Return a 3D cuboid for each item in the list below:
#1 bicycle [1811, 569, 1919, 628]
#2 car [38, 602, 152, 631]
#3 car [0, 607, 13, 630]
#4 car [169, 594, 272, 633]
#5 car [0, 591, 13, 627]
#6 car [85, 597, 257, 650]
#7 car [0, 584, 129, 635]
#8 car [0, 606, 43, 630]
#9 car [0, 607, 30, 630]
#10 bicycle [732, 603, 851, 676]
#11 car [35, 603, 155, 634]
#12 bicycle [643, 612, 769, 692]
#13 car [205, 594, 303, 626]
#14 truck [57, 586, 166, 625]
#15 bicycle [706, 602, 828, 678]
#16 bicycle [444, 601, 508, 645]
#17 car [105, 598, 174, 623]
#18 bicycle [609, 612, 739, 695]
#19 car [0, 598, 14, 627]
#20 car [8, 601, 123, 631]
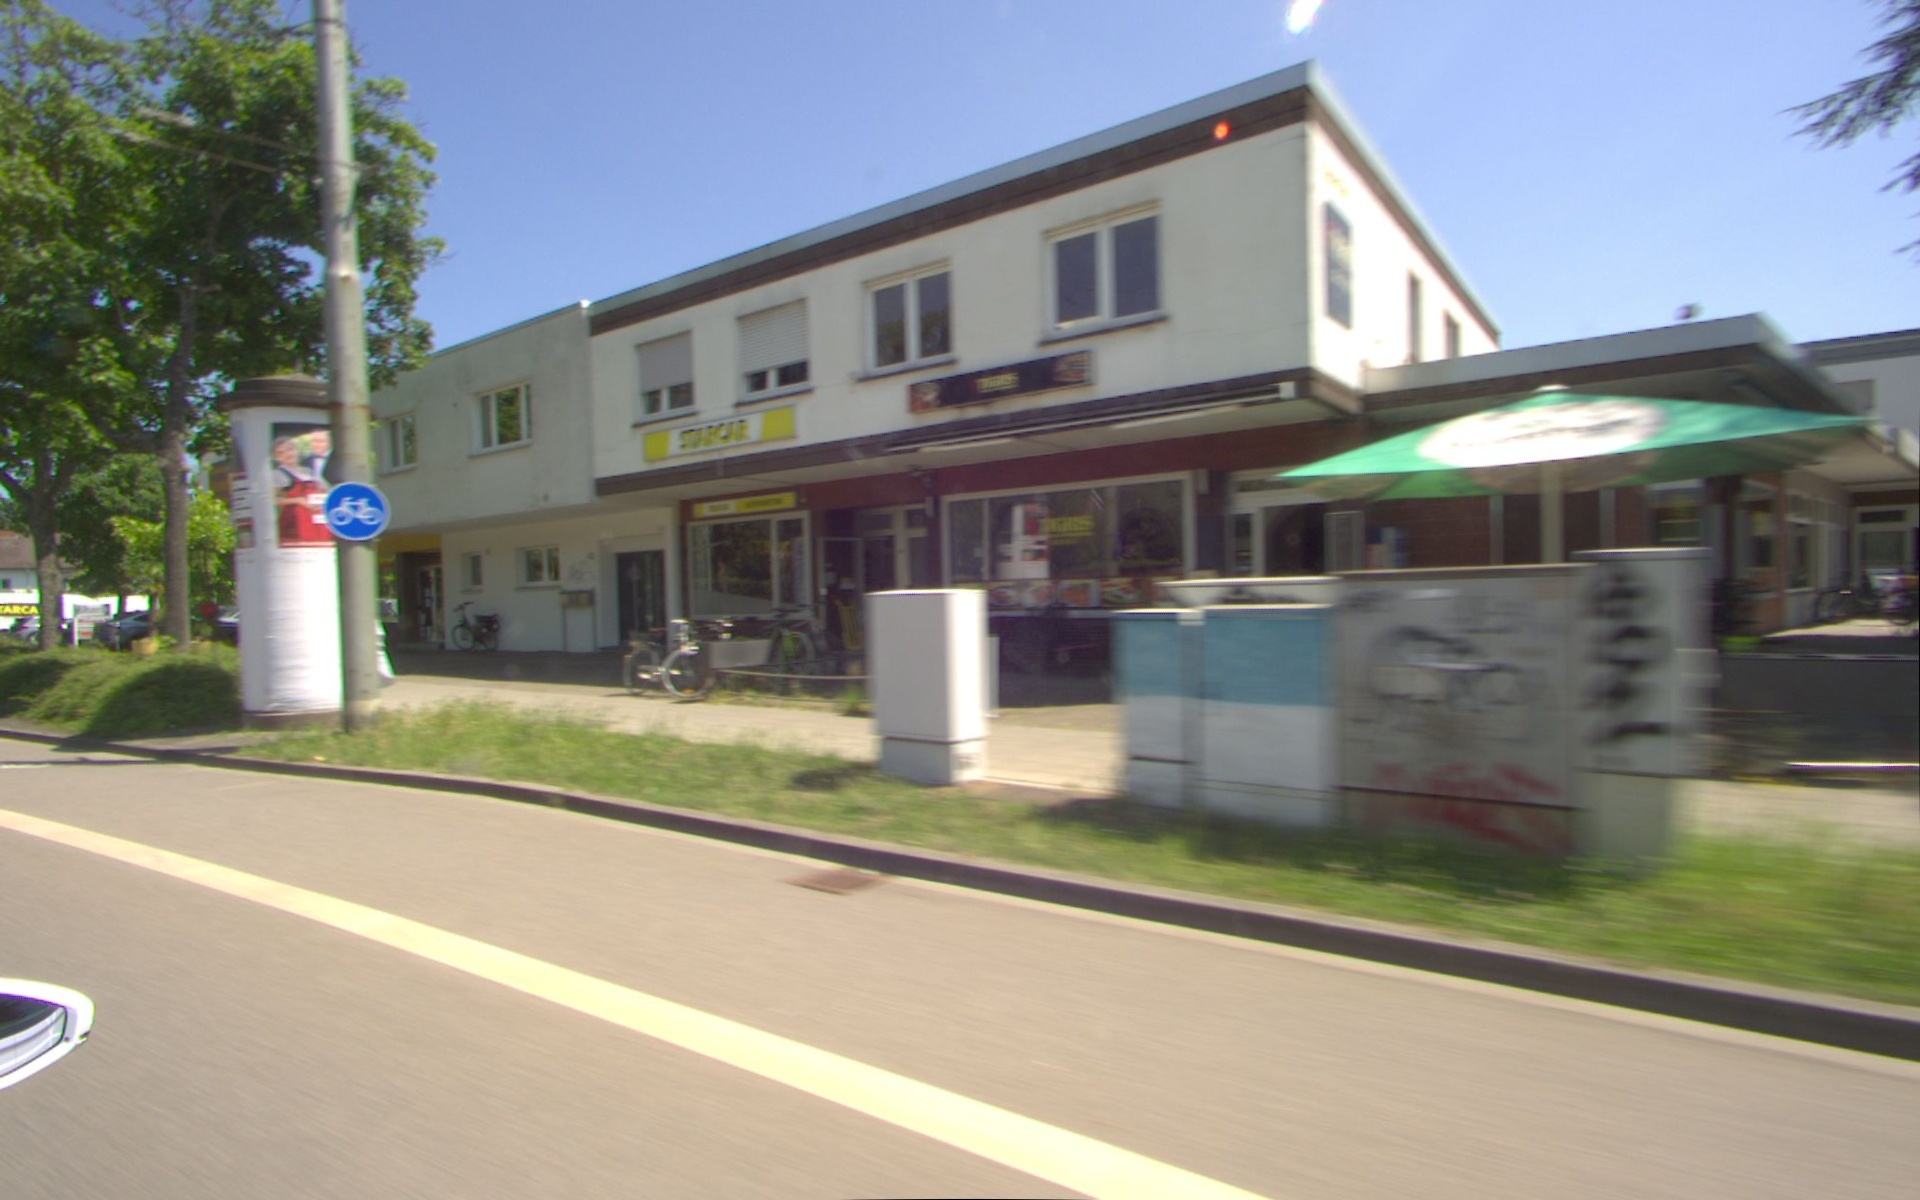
[{"bbox_3d":[18.322,-0.031,20.190,0.539,1.131,1.737,-2,2,-45],"label":"bicycle"},{"bbox_3d":[-41.307,0.824,47.885,1.705,1.342,3.876,0,-2,35],"label":"car"},{"bbox_3d":[-62.644,1.164,63.181,1.703,1.424,3.880,0,-2,32],"label":"car"},{"bbox_3d":[-52.569,0.928,71.325,2.068,2.493,5.468,0,2,37],"label":"car"},{"bbox_3d":[-67.165,0.566,66.866,2.068,2.491,5.472,0,-1,37],"label":"car"},{"bbox_3d":[-26.366,0.744,33.576,1.917,1.632,4.128,0,1,33],"label":"car"},{"bbox_3d":[-47.804,0.540,52.428,2.236,2.561,6.316,0,-2,39],"label":"car"},{"bbox_3d":[-58.357,1.076,60.382,1.704,1.424,4.267,0,-2,34],"label":"car"},{"bbox_3d":[-60.545,1.123,62.170,1.704,1.424,3.877,0,-2,34],"label":"car"},{"bbox_3d":[-2.680,0.608,15.833,1.993,1.083,0.541,0,1,32],"label":"bicycle"},{"bbox_3d":[-39.690,0.875,46.027,1.705,1.342,3.876,0,-2,35],"label":"car"},{"bbox_3d":[-3.700,0.722,14.513,1.993,1.083,0.541,0,1,32],"label":"bicycle"},{"bbox_3d":[-48.312,0.674,68.628,2.068,1.902,5.075,0,2,37],"label":"car"},{"bbox_3d":[-75.624,0.429,89.364,2.392,3.127,6.922,0,2,35],"label":"truck"},{"bbox_3d":[-2.967,0.592,15.302,1.993,1.083,0.541,0,1,32],"label":"bicycle"},{"bbox_3d":[-12.280,0.582,25.407,1.874,1.083,0.541,0,2,32],"label":"bicycle"},{"bbox_3d":[-67.803,0.842,82.813,1.729,1.832,3.987,0,2,33],"label":"car"},{"bbox_3d":[-4.027,0.716,14.028,1.993,1.083,0.541,0,1,32],"label":"bicycle"},{"bbox_3d":[-64.783,0.806,65.115,1.926,1.933,4.399,0,-1,32],"label":"car"},{"bbox_3d":[-43.589,0.823,48.874,1.702,1.398,3.882,0,-1,30],"label":"car"}]
